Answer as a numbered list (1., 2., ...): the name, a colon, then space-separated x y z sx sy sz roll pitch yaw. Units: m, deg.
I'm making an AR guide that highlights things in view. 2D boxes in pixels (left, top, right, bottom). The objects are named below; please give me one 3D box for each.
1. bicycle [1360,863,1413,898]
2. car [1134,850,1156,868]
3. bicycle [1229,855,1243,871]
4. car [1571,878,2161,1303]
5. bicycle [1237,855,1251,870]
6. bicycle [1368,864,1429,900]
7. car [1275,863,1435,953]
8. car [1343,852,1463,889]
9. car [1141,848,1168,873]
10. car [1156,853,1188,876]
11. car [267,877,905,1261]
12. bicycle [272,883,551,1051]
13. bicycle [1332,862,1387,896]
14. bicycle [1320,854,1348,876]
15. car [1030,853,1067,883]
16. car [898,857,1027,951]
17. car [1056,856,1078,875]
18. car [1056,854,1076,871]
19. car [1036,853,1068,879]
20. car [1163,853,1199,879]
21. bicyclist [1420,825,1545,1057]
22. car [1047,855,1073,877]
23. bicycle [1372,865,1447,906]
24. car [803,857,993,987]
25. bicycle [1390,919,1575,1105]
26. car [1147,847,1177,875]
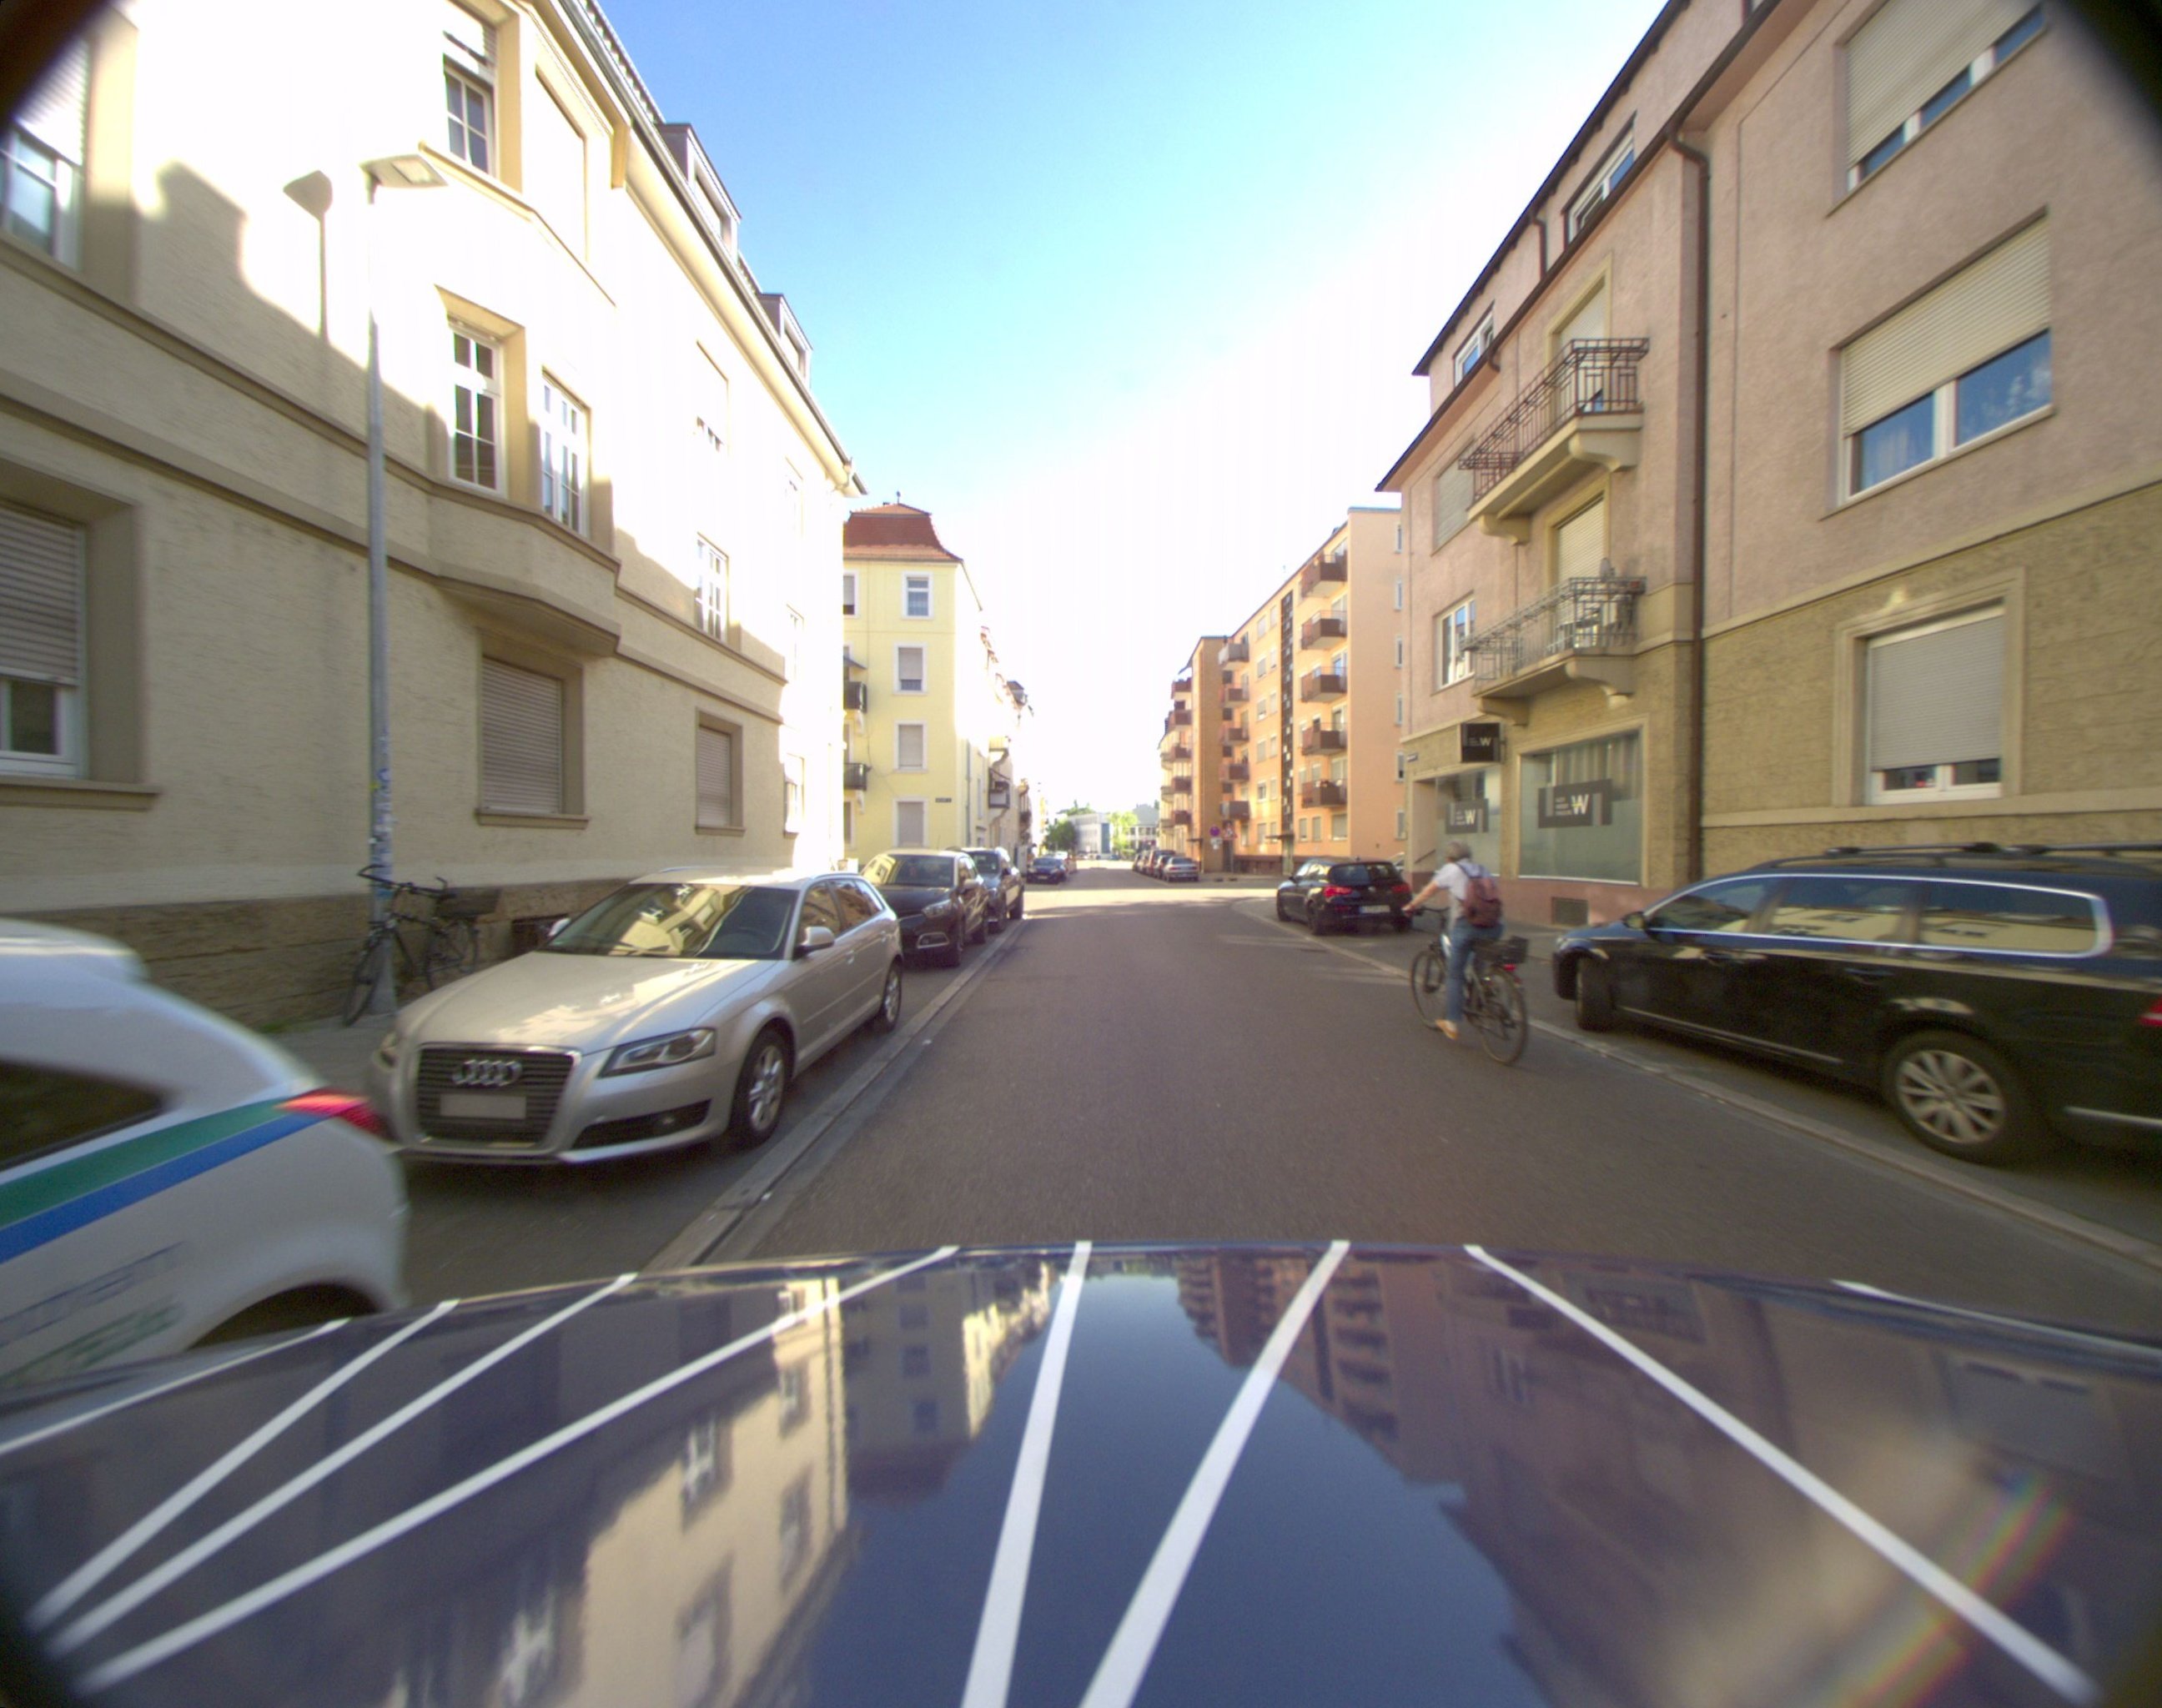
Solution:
1. bicycle: 10.142 0.875 25.202 1.664 1.140 0.435 0 1 -11
2. car: 5.918 0.431 70.577 1.822 1.589 3.812 0 0 1
3. bicycle: 11.132 0.622 54.523 0.494 1.101 1.805 0 0 -5
4. car: 5.020 0.973 4.394 1.719 1.512 4.109 1 0 0
5. bicycle: 11.708 0.591 54.547 0.494 1.101 1.805 0 0 -5
6. bicycle: 10.323 0.888 24.699 1.861 1.140 0.435 0 1 -10
7. car: 5.087 0.933 14.684 1.719 1.378 3.865 -3 0 1
8. car: 13.716 0.677 32.477 4.454 1.550 1.780 0 0 -6
9. car: 5.762 0.513 59.918 1.822 1.867 4.111 0 0 1
10. car: 5.735 0.666 48.211 1.678 1.414 3.286 0 0 1
11. car: -2.526 0.951 5.194 1.657 1.455 4.094 0 0 0
12. bicycle: -5.774 0.898 6.764 0.832 1.194 1.955 0 0 -4
13. bicycle: 9.486 0.856 25.935 1.663 1.140 0.593 0 1 -5
14. bicycle: 12.942 0.572 38.904 0.688 1.101 1.805 0 0 -5
15. car: -1.668 0.725 40.061 1.708 1.417 3.721 1 1 0
16. car: -2.259 0.891 15.694 1.791 1.654 4.435 0 0 3
17. car: -1.172 0.960 63.441 1.708 1.417 3.721 1 1 0
18. car: -1.345 0.803 69.820 1.708 1.417 3.721 1 1 0
19. car: -1.685 0.699 45.527 1.708 1.417 3.721 1 1 0
20. car: 5.643 0.675 43.238 1.678 1.414 3.500 0 0 1
21. bicyclist: 3.012 0.624 5.747 0.609 1.656 0.632 0 1 1
22. car: -1.434 0.793 51.874 1.708 1.417 3.721 0 0 -1
23. bicycle: 9.250 0.883 21.417 1.809 1.129 0.695 0 0 -2
24. car: -2.479 0.838 11.264 1.684 1.537 3.915 1 0 3
25. bicycle: 3.014 1.121 5.916 0.541 1.070 1.800 0 0 2
26. car: 5.710 0.482 53.974 1.822 1.867 4.111 0 0 1
